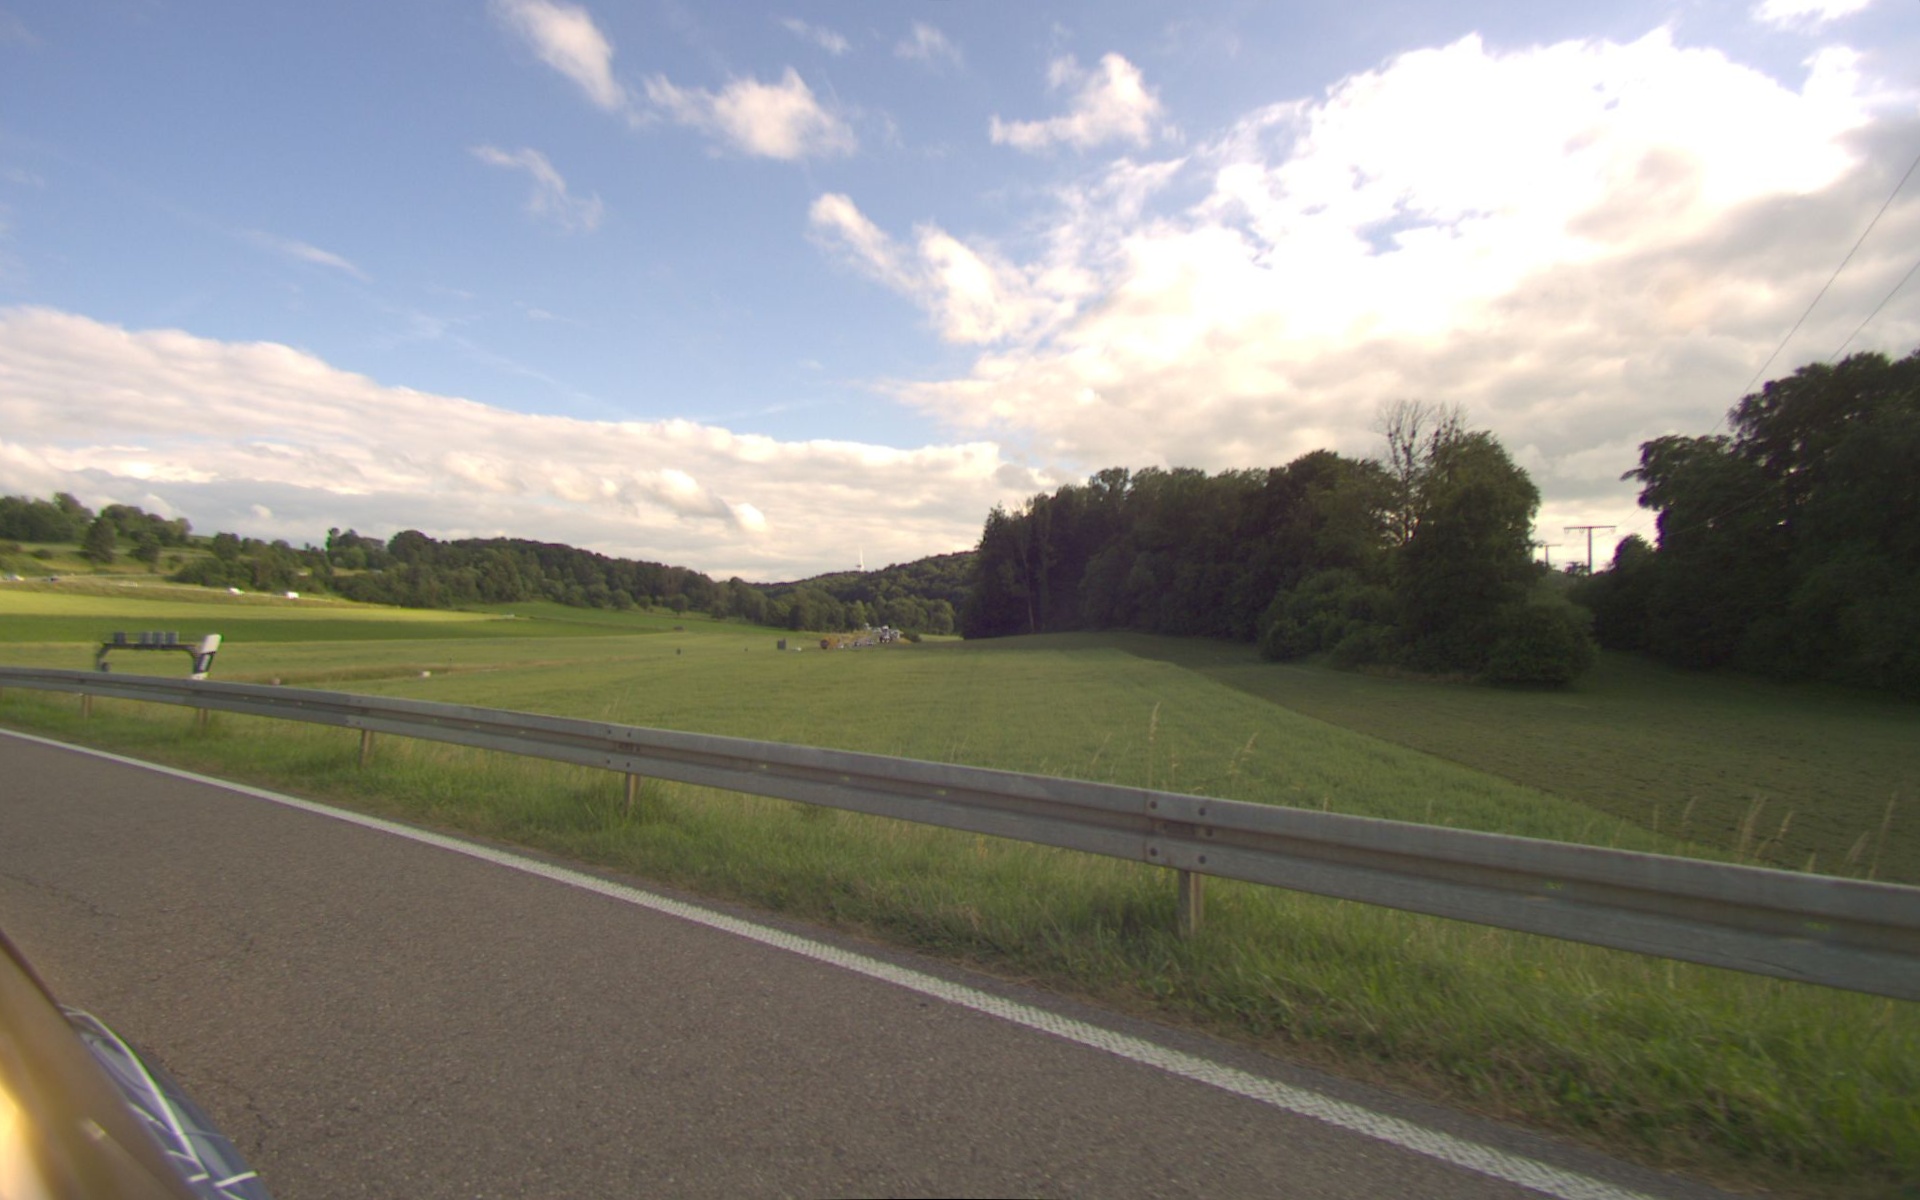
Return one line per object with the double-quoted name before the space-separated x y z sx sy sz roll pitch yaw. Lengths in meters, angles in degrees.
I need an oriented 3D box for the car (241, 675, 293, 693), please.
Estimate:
"car" -69.699 8.434 101.850 1.813 1.662 3.977 1 -2 17
